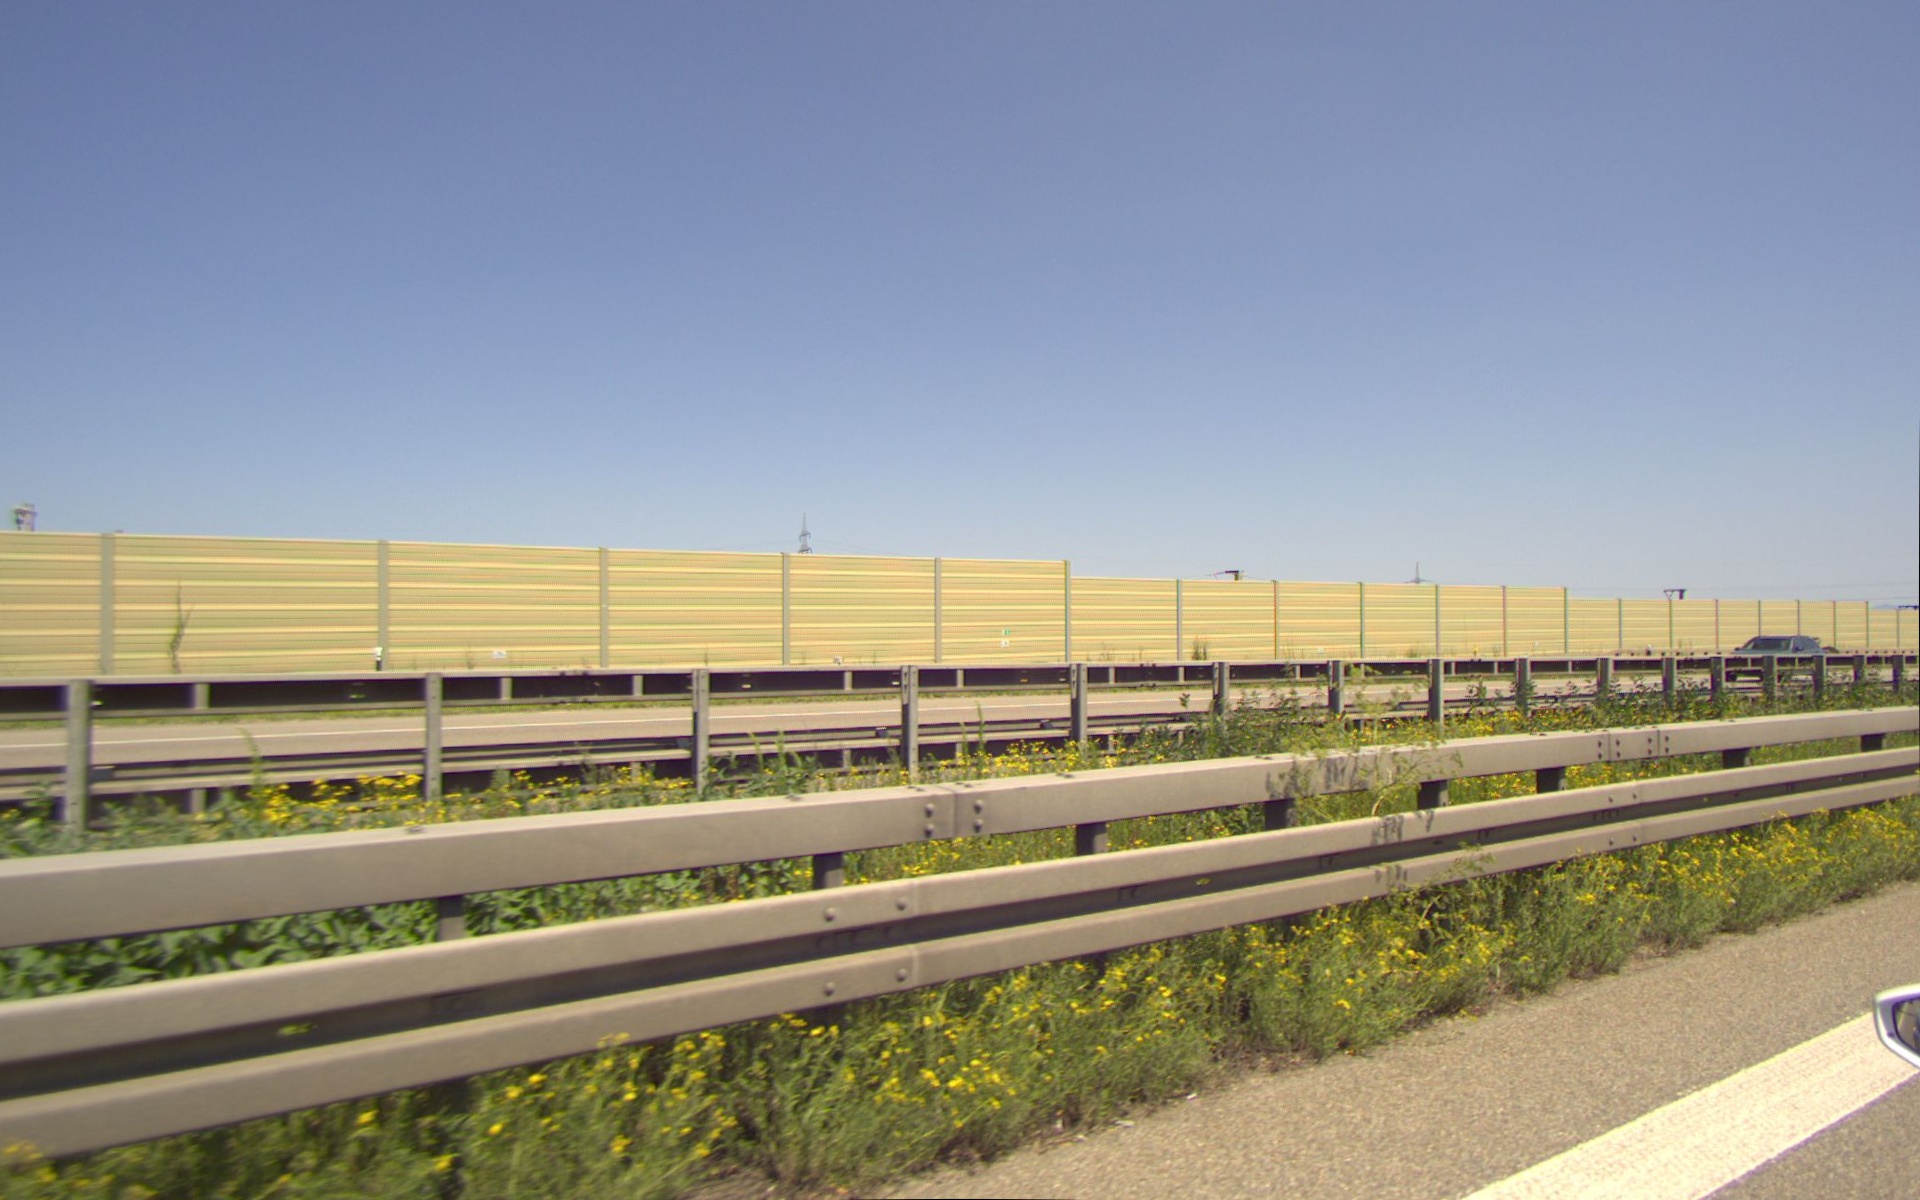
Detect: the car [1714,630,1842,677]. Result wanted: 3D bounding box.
[{"bbox_3d":[29.573,1.908,36.289,5.185,1.590,1.887,1,-3,-30],"label":"car"}]
